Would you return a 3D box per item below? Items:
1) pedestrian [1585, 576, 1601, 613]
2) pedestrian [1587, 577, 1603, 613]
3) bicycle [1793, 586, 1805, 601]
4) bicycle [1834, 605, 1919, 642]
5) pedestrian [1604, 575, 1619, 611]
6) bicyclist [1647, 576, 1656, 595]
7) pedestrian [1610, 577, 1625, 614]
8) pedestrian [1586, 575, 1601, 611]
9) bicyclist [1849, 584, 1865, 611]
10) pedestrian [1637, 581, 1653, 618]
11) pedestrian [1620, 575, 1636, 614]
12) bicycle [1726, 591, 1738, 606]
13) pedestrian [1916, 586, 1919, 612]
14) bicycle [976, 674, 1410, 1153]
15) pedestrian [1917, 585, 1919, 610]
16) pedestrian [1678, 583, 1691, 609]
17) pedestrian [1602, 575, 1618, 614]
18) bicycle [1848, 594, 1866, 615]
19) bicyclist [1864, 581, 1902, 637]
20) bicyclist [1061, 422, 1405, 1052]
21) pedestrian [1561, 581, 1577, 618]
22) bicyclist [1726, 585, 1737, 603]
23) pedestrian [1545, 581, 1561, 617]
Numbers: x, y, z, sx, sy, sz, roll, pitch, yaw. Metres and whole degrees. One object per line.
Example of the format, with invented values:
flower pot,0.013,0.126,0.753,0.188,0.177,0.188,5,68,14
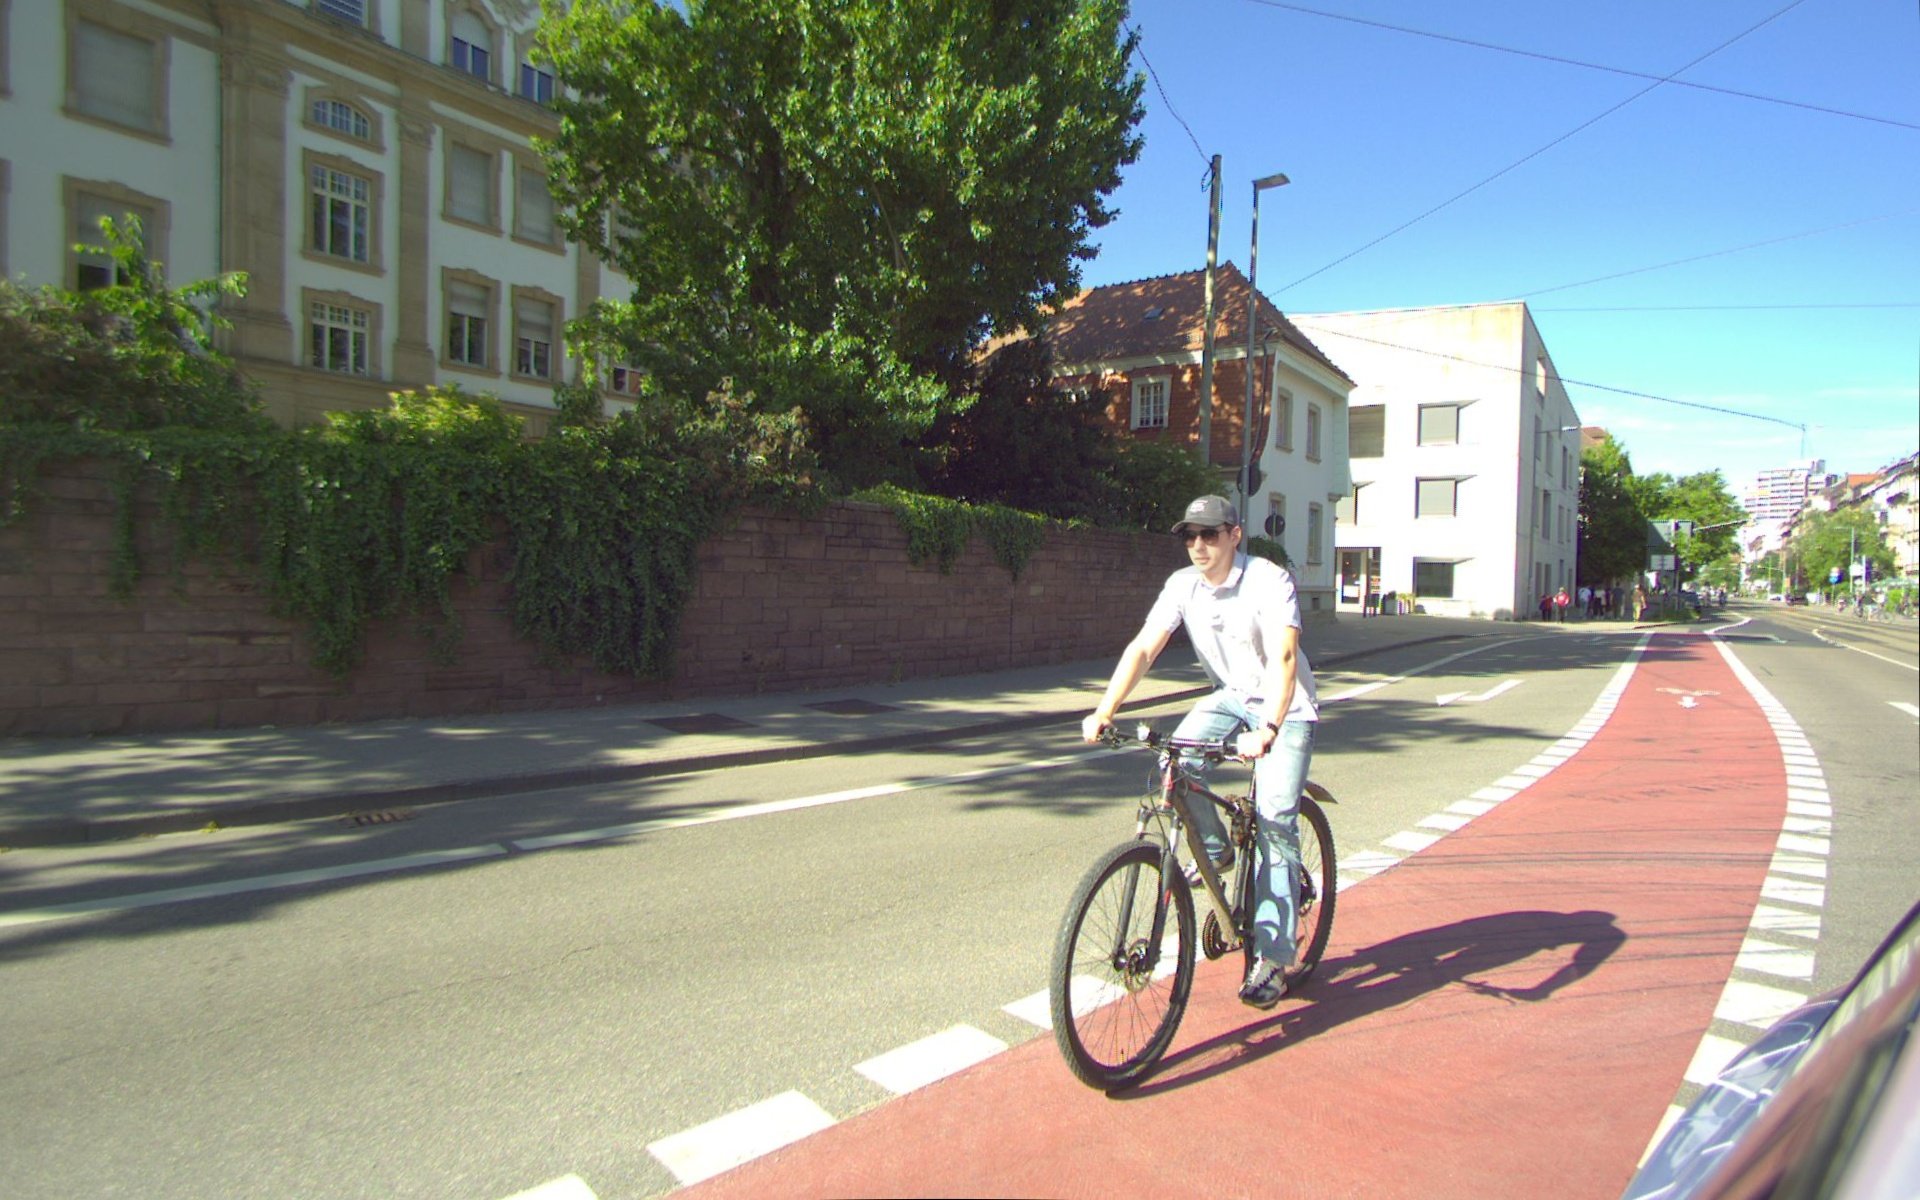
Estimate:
pedestrian,31.028,-0.276,49.581,0.584,1.828,0.538,2,1,36
pedestrian,32.166,-0.264,51.273,0.584,1.828,0.575,2,1,36
bicycle,102.779,-0.810,123.950,0.998,1.702,2.945,0,1,37
bicycle,51.084,1.285,56.088,0.986,1.910,3.888,-1,2,-40
pedestrian,33.669,-0.358,52.294,0.584,1.828,0.538,2,1,36
bicyclist,81.217,-1.738,118.798,0.809,2.234,0.971,0,1,39
pedestrian,33.098,-0.247,50.944,0.584,1.828,0.575,2,1,36
pedestrian,33.041,-0.366,52.758,0.584,1.828,0.538,2,1,36
bicyclist,78.368,-0.207,88.416,0.999,2.296,1.006,0,1,40
pedestrian,32.647,-0.040,48.239,0.584,1.749,0.513,2,1,36
pedestrian,32.087,-0.260,48.619,0.584,1.828,0.513,2,1,36
bicycle,62.654,-0.152,82.151,0.663,1.166,1.648,0,1,40
pedestrian,69.761,-0.092,73.360,0.576,1.879,0.675,2,1,37
bicycle,0.893,0.874,3.483,0.611,1.090,1.801,1,1,44
pedestrian,71.997,-0.171,75.639,0.576,1.879,0.675,2,1,37
pedestrian,50.160,-0.268,70.048,0.675,1.759,0.919,2,1,38
pedestrian,31.474,-0.265,49.009,0.584,1.828,0.538,2,1,36
bicycle,78.400,0.395,88.459,0.999,1.702,2.943,0,2,39
bicyclist,51.117,0.479,56.043,0.987,3.012,1.472,-1,1,-40
bicyclist,0.962,0.380,3.509,0.750,1.798,0.998,1,1,44
pedestrian,26.953,-0.030,44.767,0.531,1.586,0.513,2,1,36
bicyclist,62.640,-0.505,82.132,0.663,1.480,0.613,0,1,41
pedestrian,26.484,-0.042,45.196,0.531,1.586,0.513,2,1,36
